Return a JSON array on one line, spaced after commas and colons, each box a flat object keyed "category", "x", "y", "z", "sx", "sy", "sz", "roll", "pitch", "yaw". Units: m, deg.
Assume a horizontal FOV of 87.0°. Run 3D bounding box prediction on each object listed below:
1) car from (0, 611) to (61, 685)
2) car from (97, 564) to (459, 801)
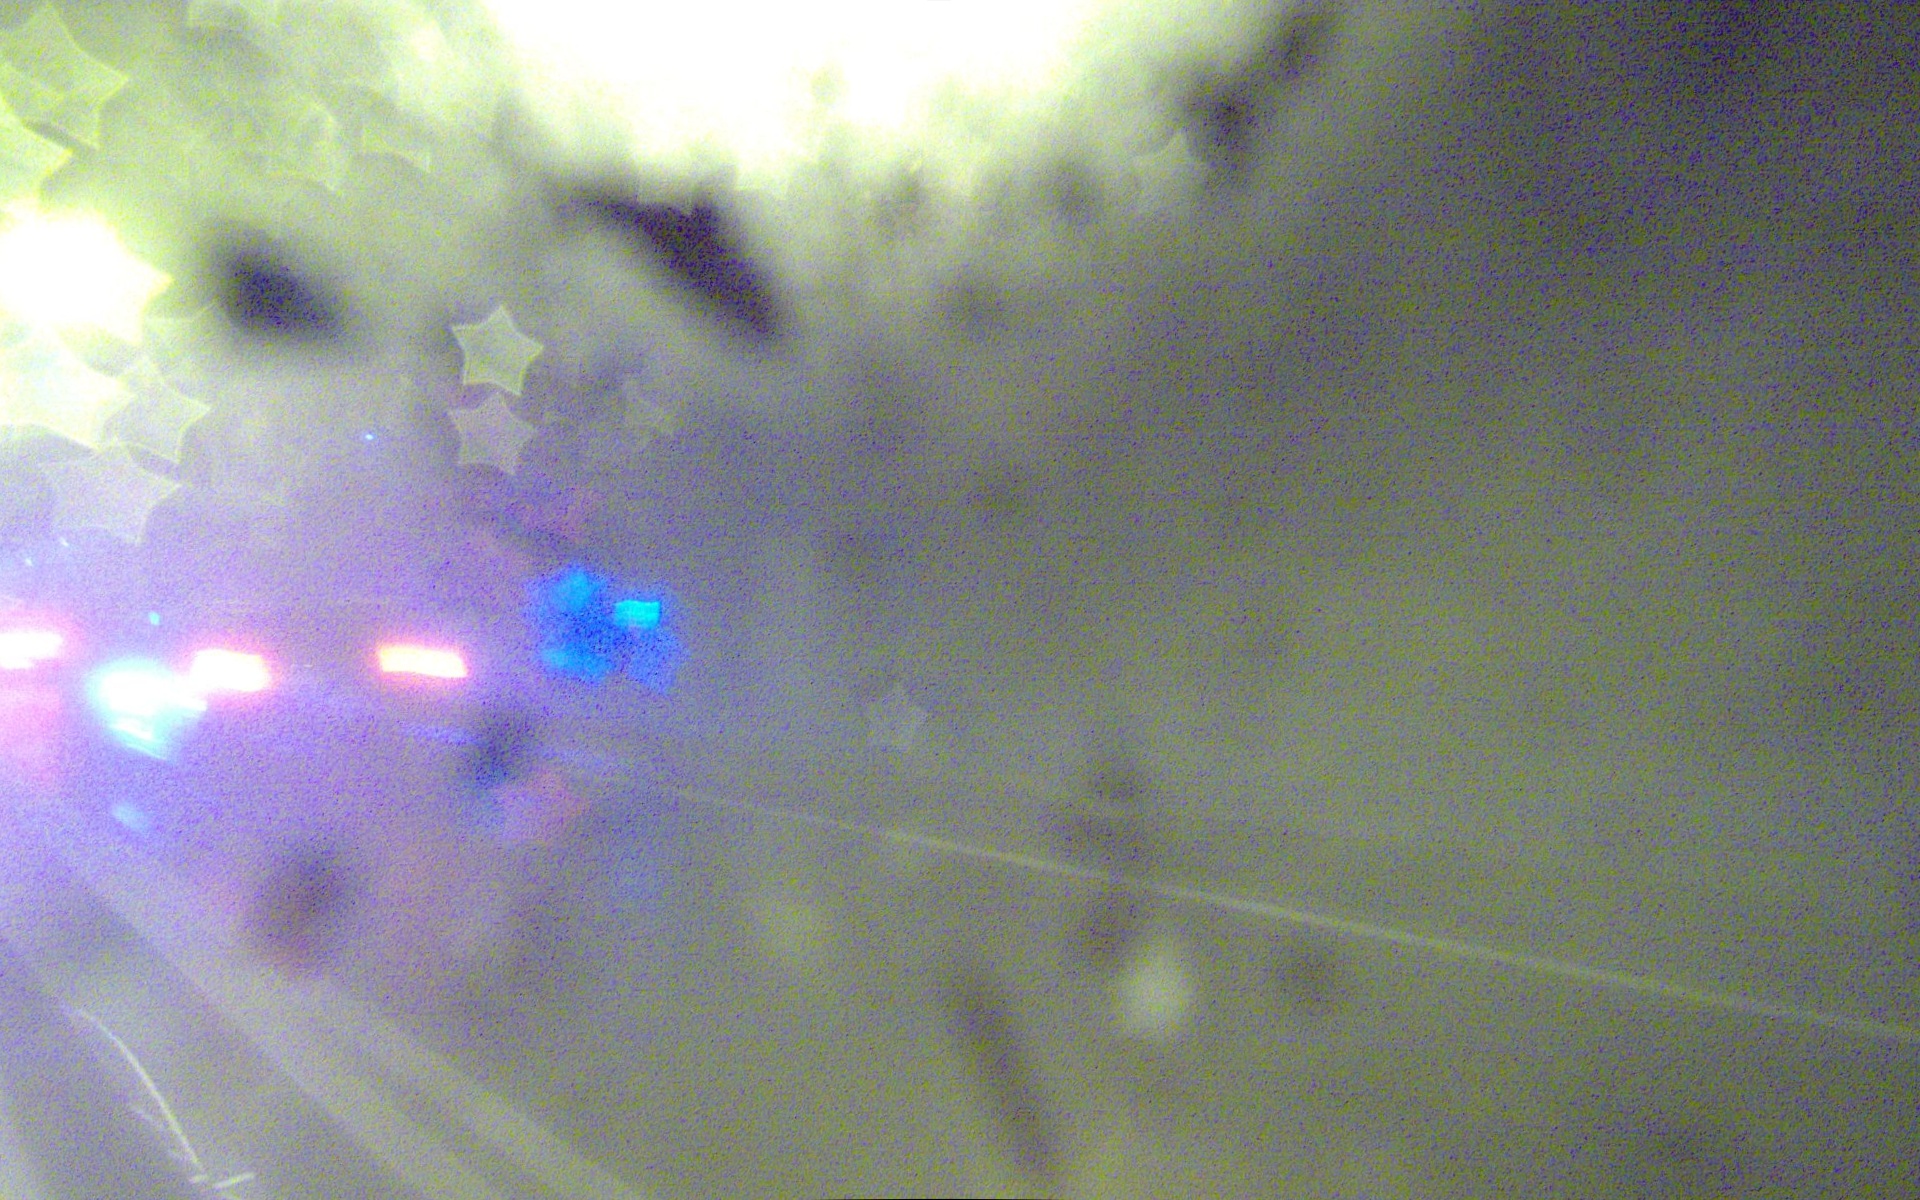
[{"category": "car", "x": -23.641, "y": 1.149, "z": 24.861, "sx": 4.559, "sy": 1.689, "sz": 1.762, "roll": -1, "pitch": -1, "yaw": 41}, {"category": "car", "x": -6.516, "y": 0.637, "z": 9.499, "sx": 3.999, "sy": 1.741, "sz": 1.894, "roll": -1, "pitch": -1, "yaw": 42}]
